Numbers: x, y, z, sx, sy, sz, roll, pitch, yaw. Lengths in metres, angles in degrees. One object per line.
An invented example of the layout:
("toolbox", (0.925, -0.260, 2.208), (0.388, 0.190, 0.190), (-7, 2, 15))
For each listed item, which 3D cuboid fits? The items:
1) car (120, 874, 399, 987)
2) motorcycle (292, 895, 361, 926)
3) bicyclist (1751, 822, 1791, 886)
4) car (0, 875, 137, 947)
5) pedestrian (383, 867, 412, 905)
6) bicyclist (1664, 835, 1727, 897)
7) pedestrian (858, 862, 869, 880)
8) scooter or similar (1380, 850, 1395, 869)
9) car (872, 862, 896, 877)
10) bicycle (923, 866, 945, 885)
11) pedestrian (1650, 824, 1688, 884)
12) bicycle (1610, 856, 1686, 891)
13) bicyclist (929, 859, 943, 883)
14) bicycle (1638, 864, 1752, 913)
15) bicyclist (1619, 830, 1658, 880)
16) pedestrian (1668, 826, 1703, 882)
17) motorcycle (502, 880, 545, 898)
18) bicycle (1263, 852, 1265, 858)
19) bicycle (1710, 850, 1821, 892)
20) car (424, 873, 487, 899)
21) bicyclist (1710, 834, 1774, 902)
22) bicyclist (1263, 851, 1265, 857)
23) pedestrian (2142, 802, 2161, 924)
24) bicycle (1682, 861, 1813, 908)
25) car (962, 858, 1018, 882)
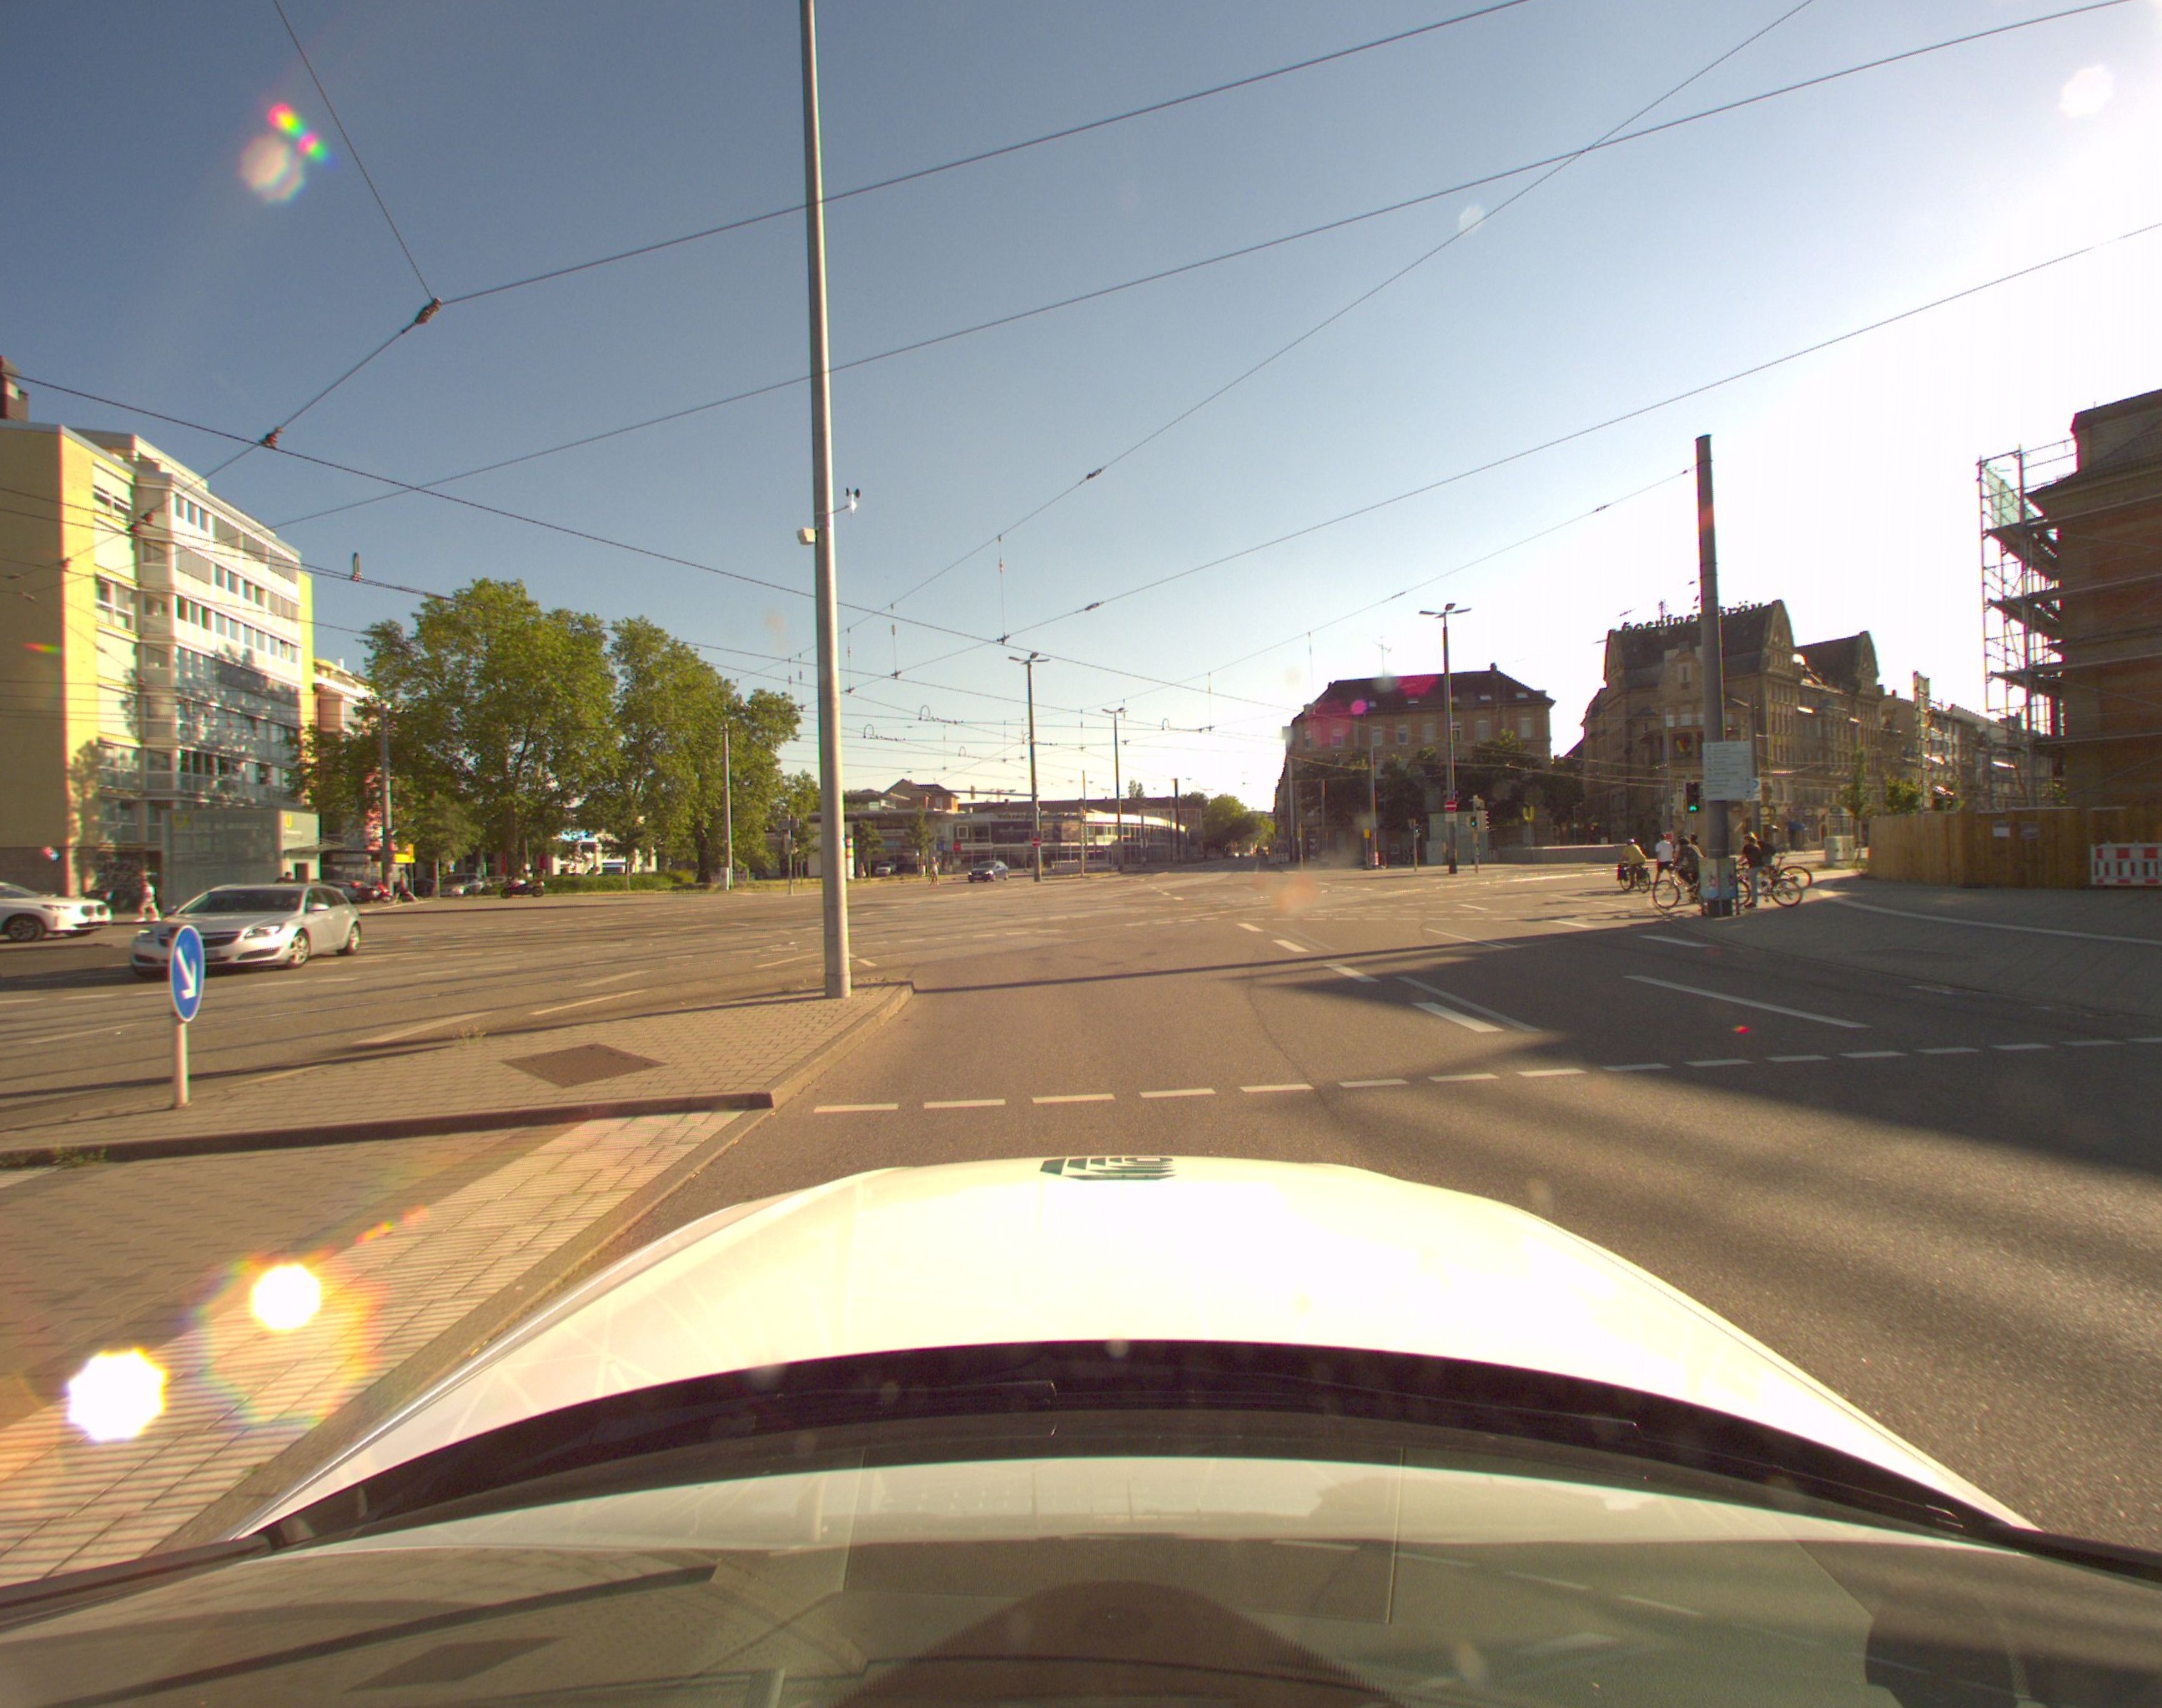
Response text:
("car", (-14.438, 1.209, 14.750), (1.787, 1.662, 4.686), (0, -1, -22))
("motorcycle", (-45.324, 3.362, 48.991), (2.679, 1.770, 1.349), (0, -1, -16))
("bicyclist", (19.488, 0.007, 23.028), (0.785, 1.779, 0.526), (-1, -2, 34))
("car", (-29.696, 1.595, 22.103), (4.914, 1.824, 1.985), (-2, -2, -22))
("pedestrian", (-33.844, 1.568, 40.332), (0.790, 1.886, 0.759), (0, -1, 6))
("bicyclist", (14.575, 0.279, 19.334), (0.708, 1.439, 0.943), (0, -1, -12))
("pedestrian", (-20.519, 1.632, 76.776), (0.854, 1.694, 0.496), (0, -1, -3))
("scooter or similar", (22.011, 0.412, 58.500), (0.781, 1.376, 1.915), (0, -1, 14))
("car", (-22.612, 1.787, 93.717), (1.990, 1.750, 3.994), (0, -1, -4))
("bicycle", (-9.820, 1.433, 54.494), (0.607, 1.189, 1.877), (-1, -1, 17))
("pedestrian", (20.227, 0.006, 28.019), (0.730, 2.014, 0.759), (0, -1, -8))
("bicycle", (18.033, 0.606, 25.960), (0.534, 1.049, 2.313), (0, 0, -9))
("bicyclist", (-9.759, 1.140, 54.715), (0.593, 1.615, 0.826), (-1, -1, 17))
("bicycle", (14.568, 0.783, 19.410), (0.699, 1.049, 2.312), (0, 0, -11))
("bicyclist", (17.984, 0.038, 26.297), (0.514, 1.557, 0.944), (0, -1, -8))
("pedestrian", (20.947, 0.016, 28.216), (0.646, 1.922, 0.688), (0, -1, -8))
("motorcycle", (-29.592, 1.869, 43.256), (1.780, 0.914, 0.674), (0, -1, -21))
("bicycle", (32.063, 0.132, 142.843), (0.407, 0.941, 1.851), (0, -1, 12))
("bicycle", (19.367, 0.495, 23.102), (2.290, 1.049, 0.539), (-5, -1, 33))
("car", (-40.051, 2.050, 52.272), (1.773, 1.568, 3.980), (0, -1, -15))
("bicyclist", (15.642, 0.333, 19.287), (0.711, 1.557, 0.939), (0, -1, -24))
("bicyclist", (32.105, 0.042, 143.038), (0.405, 1.116, 0.400), (0, -1, 10))
("pedestrian", (16.477, 0.120, 12.084), (0.672, 1.807, 0.680), (-2, 0, -22))
("bicycle", (15.662, 0.700, 19.225), (0.702, 1.049, 2.302), (0, -1, -24))
("car", (-6.232, 1.084, 56.398), (1.975, 1.585, 4.023), (-1, -1, 26))
